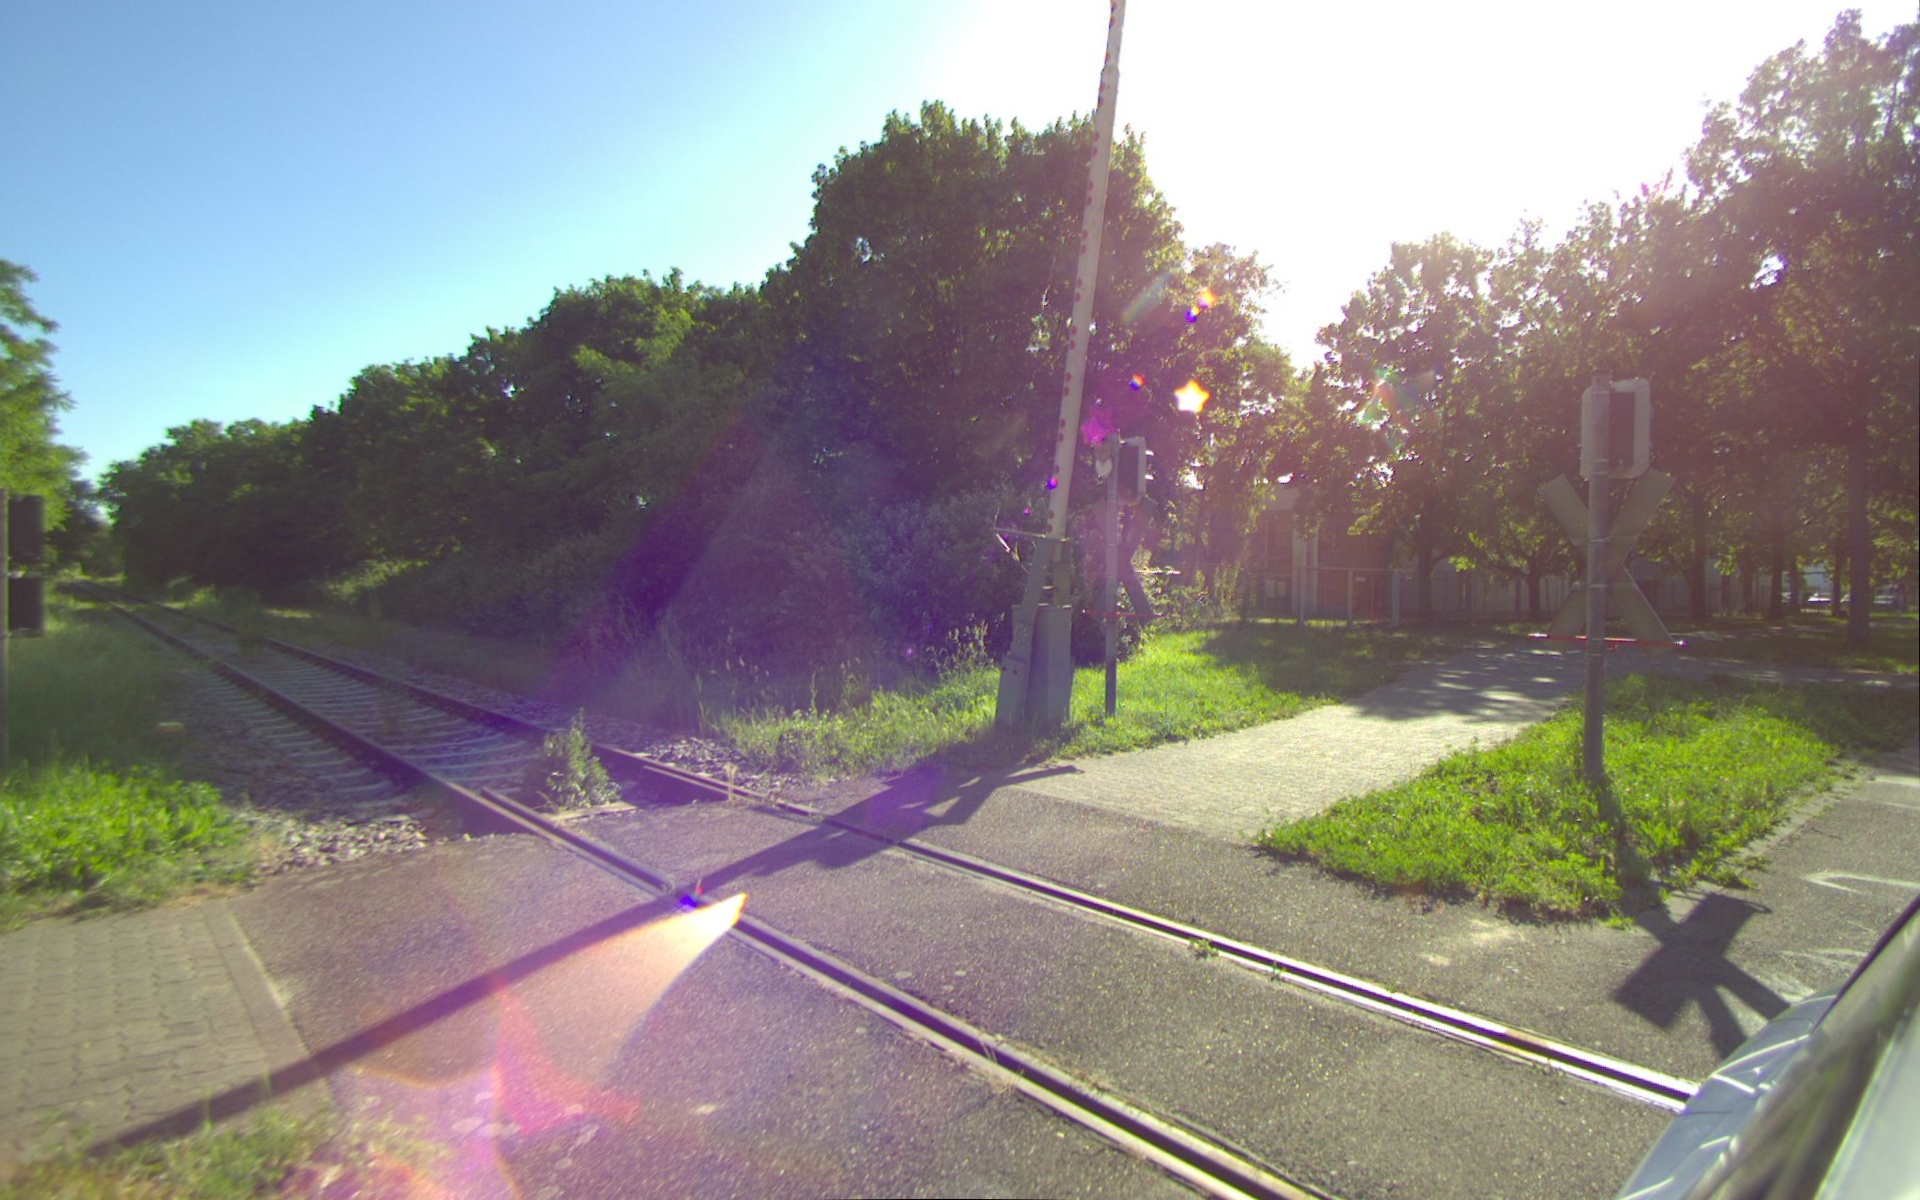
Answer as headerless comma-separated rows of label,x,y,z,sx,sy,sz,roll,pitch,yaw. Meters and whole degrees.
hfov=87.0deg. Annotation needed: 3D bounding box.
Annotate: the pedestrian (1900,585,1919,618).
pedestrian,48.538,0.086,51.637,0.705,1.651,0.610,1,3,-36
